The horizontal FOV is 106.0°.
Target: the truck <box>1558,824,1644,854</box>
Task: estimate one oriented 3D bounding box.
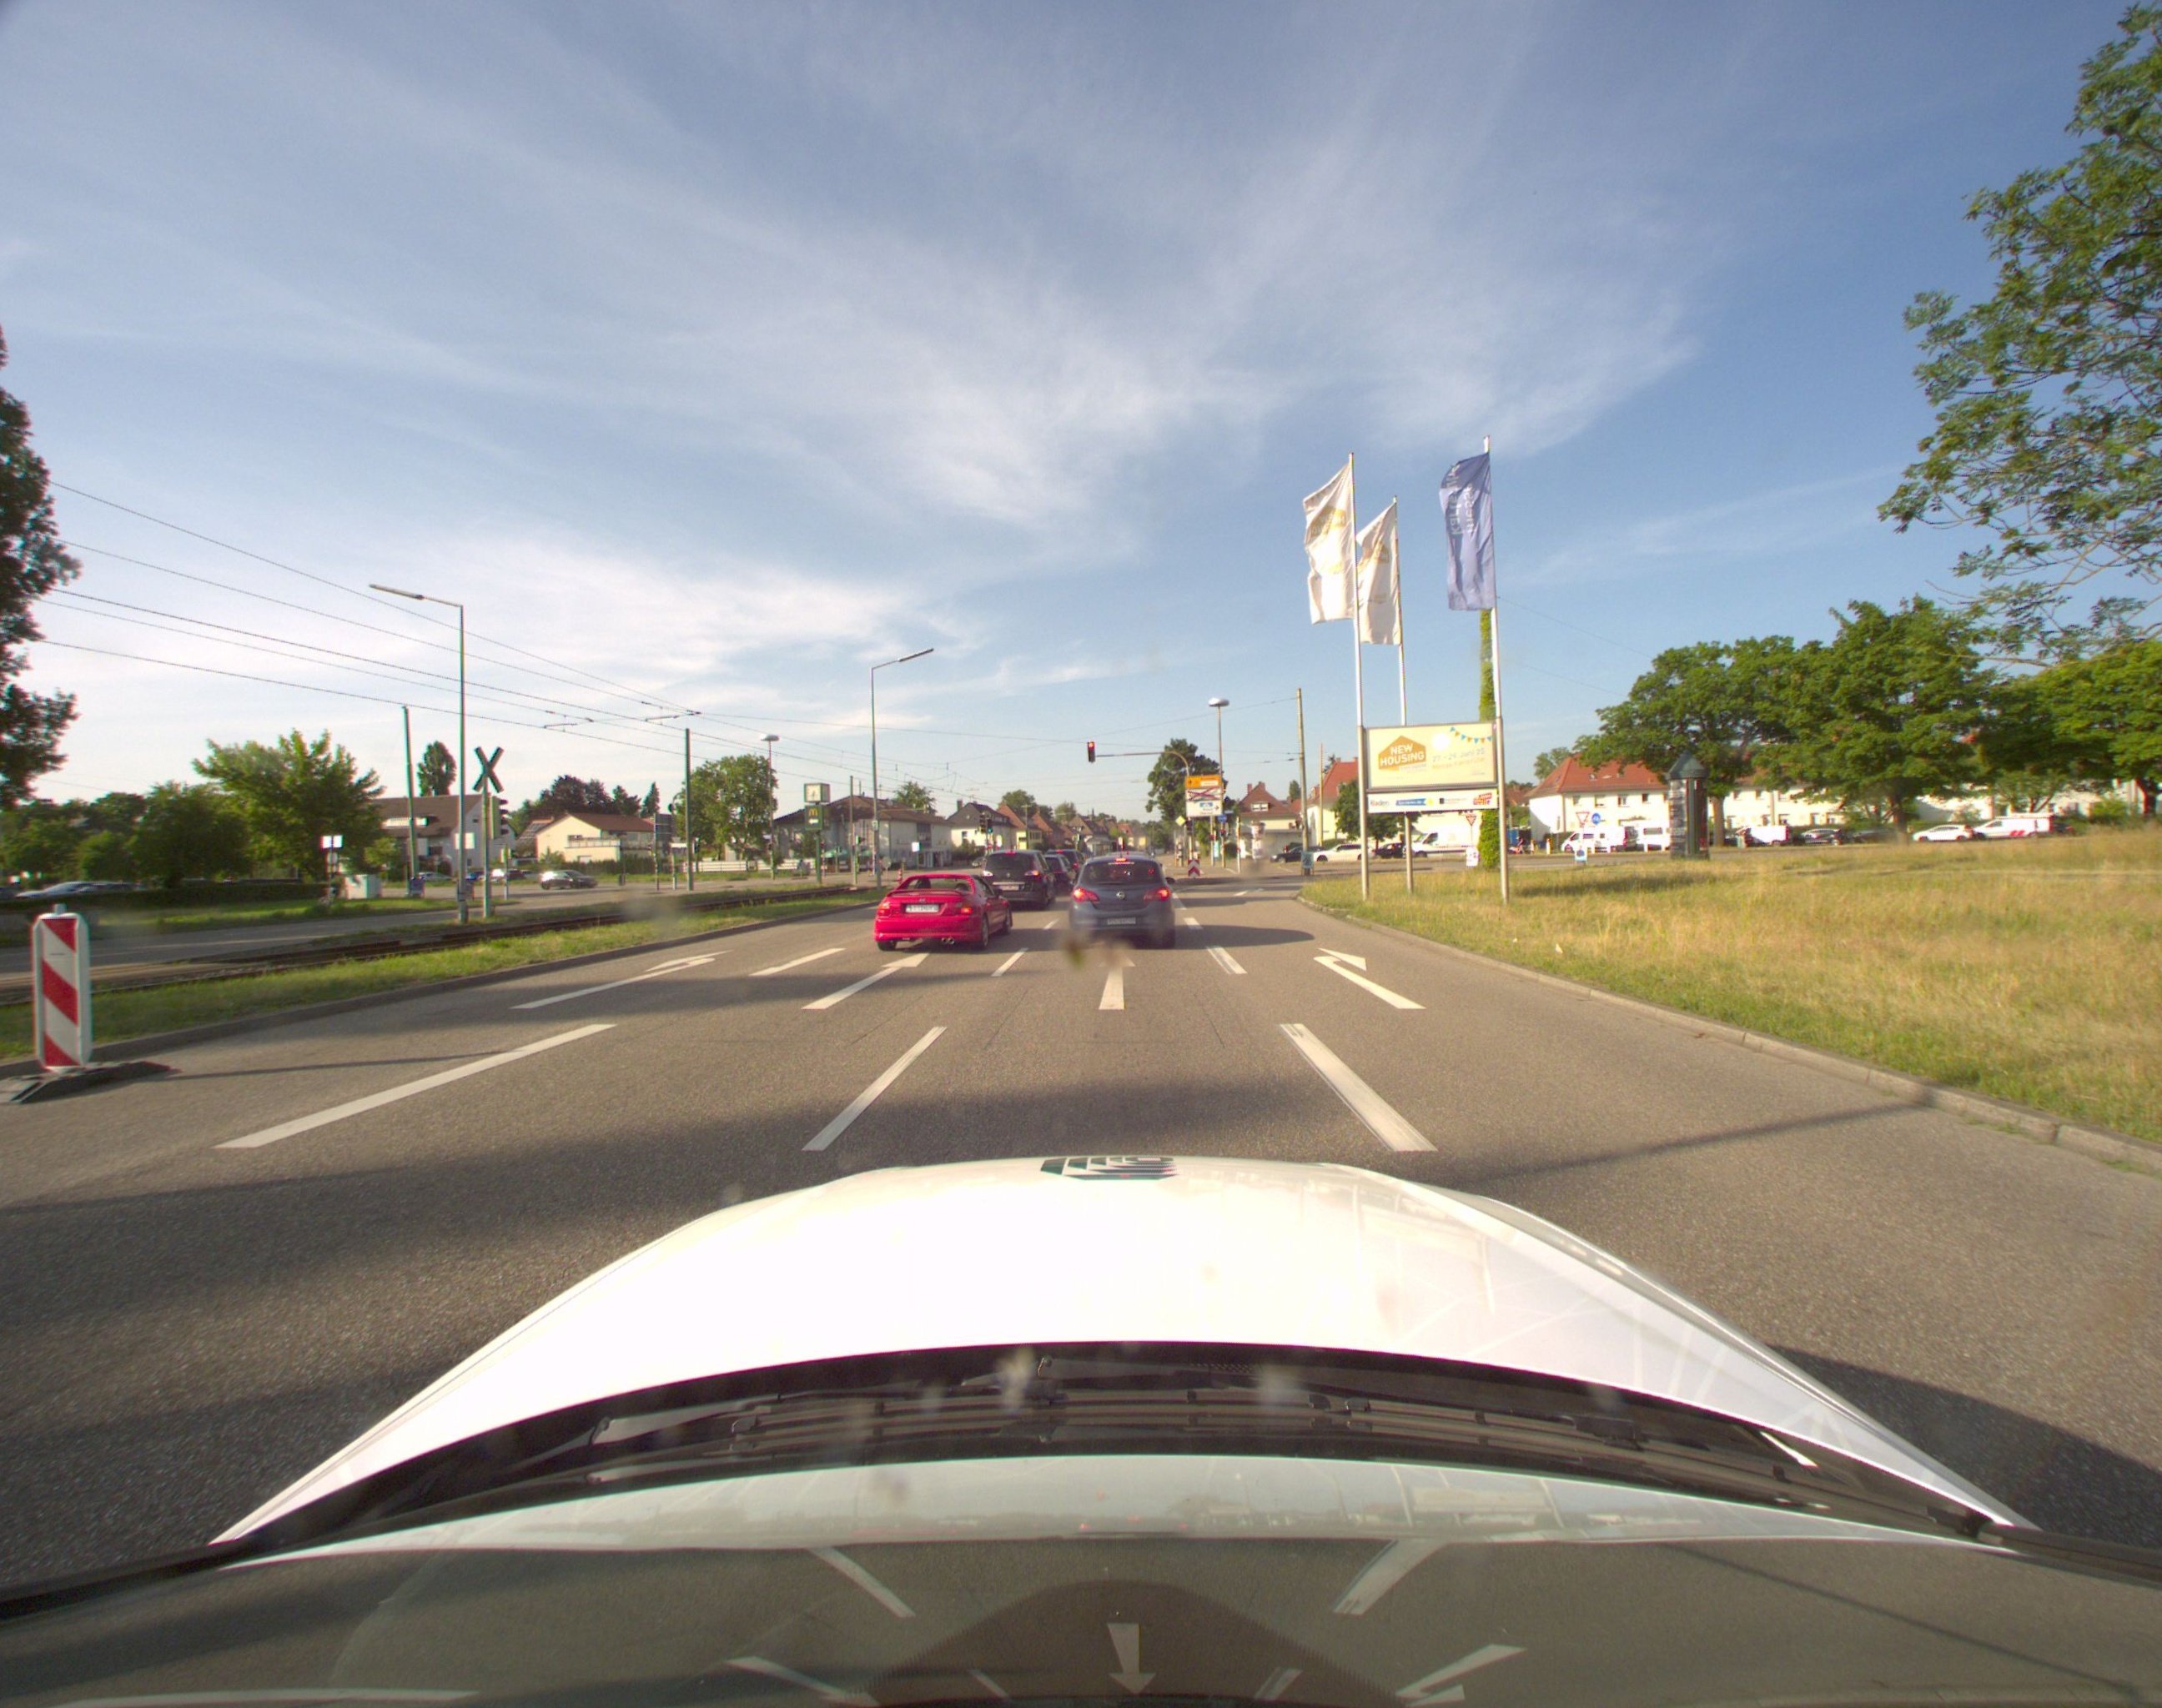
[{"bbox_3d":[47.260,-1.314,74.189,2.284,2.524,6.298,-2,1,-29],"label":"truck"}]

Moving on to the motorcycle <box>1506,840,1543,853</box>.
[{"bbox_3d":[32.158,-0.558,59.122,2.260,0.866,0.691,-2,0,4],"label":"motorcycle"}]

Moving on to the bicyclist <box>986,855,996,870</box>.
[{"bbox_3d":[-8.689,0.814,78.641,0.882,1.431,1.135,0,-1,-3],"label":"bicyclist"}]

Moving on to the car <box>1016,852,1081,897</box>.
[{"bbox_3d":[-1.110,0.684,30.268,1.691,1.508,4.562,-1,0,7],"label":"car"}]

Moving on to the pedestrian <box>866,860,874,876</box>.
[{"bbox_3d":[-20.728,1.380,79.992,0.509,1.599,0.540,-2,0,5],"label":"pedestrian"}]

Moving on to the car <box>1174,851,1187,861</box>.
[{"bbox_3d":[13.432,0.268,110.070,1.666,1.398,4.007,0,-1,6],"label":"car"}]

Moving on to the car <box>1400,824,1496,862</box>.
[{"bbox_3d":[27.124,-0.818,60.378,6.177,2.583,2.003,-2,0,6],"label":"car"}]

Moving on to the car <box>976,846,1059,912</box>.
[{"bbox_3d":[-1.675,0.631,22.839,1.756,1.670,4.087,-1,0,3],"label":"car"}]

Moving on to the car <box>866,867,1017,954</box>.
[{"bbox_3d":[-2.254,0.882,14.150,1.724,1.206,3.850,-1,0,3],"label":"car"}]

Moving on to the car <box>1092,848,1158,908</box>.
[{"bbox_3d":[1.296,0.631,23.646,1.699,1.552,3.981,-2,0,3],"label":"car"}]

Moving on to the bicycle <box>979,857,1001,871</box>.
[{"bbox_3d":[-8.753,0.969,78.677,2.069,1.348,1.107,0,-1,-4],"label":"bicycle"}]

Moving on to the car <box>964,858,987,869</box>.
[{"bbox_3d":[-13.978,1.242,108.216,1.652,1.346,4.090,-2,-1,11],"label":"car"}]

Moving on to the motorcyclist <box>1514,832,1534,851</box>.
[{"bbox_3d":[32.143,-0.918,59.119,1.060,1.352,0.681,-2,0,5],"label":"motorcyclist"}]

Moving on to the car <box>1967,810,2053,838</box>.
[{"bbox_3d":[82.319,-2.638,72.196,2.010,2.232,4.921,-2,0,-40],"label":"car"}]

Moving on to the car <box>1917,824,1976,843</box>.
[{"bbox_3d":[76.575,-1.803,72.078,1.904,1.514,3.395,-2,0,-36],"label":"car"}]

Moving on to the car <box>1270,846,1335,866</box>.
[{"bbox_3d":[17.625,0.163,64.893,4.799,1.411,1.719,-2,0,6],"label":"car"}]

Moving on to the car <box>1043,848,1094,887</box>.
[{"bbox_3d":[-0.508,0.560,37.449,1.498,1.651,4.755,-2,0,8],"label":"car"}]

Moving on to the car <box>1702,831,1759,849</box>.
[{"bbox_3d":[59.346,-1.305,74.447,1.907,1.456,3.861,-2,0,-43],"label":"car"}]

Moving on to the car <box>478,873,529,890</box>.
[{"bbox_3d":[-56.452,2.689,79.661,3.956,1.486,2.009,-2,0,16],"label":"car"}]

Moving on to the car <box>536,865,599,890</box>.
[{"bbox_3d":[-39.338,1.792,62.459,3.965,1.793,1.523,-2,0,7],"label":"car"}]

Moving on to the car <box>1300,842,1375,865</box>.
[{"bbox_3d":[19.194,-0.027,61.085,5.068,1.563,1.843,-2,0,6],"label":"car"}]

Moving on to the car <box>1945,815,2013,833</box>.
[{"bbox_3d":[95.161,-3.146,86.353,1.984,1.719,4.987,-2,0,5],"label":"car"}]

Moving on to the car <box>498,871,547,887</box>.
[{"bbox_3d":[-61.925,2.764,90.331,1.980,1.684,4.234,0,-1,12],"label":"car"}]

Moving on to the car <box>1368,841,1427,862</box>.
[{"bbox_3d":[24.885,-0.188,64.107,3.966,1.453,1.719,-2,0,6],"label":"car"}]

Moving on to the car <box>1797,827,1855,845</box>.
[{"bbox_3d":[66.584,-1.594,72.807,1.904,1.514,3.461,-2,0,-36],"label":"car"}]

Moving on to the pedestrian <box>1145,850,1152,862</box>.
[{"bbox_3d":[8.459,0.281,101.548,0.747,1.499,0.830,-1,-1,14],"label":"pedestrian"}]

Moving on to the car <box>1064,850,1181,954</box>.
[{"bbox_3d":[0.694,0.720,14.470,1.735,1.505,4.224,-2,0,2],"label":"car"}]

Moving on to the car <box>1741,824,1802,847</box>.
[{"bbox_3d":[62.739,-1.647,74.033,1.906,1.920,3.863,-2,0,-40],"label":"car"}]

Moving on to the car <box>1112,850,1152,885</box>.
[{"bbox_3d":[2.325,0.583,36.892,1.649,1.443,4.018,-2,0,4],"label":"car"}]

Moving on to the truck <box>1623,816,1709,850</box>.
[{"bbox_3d":[53.258,-1.878,74.236,1.906,2.854,6.007,-2,0,-40],"label":"truck"}]
